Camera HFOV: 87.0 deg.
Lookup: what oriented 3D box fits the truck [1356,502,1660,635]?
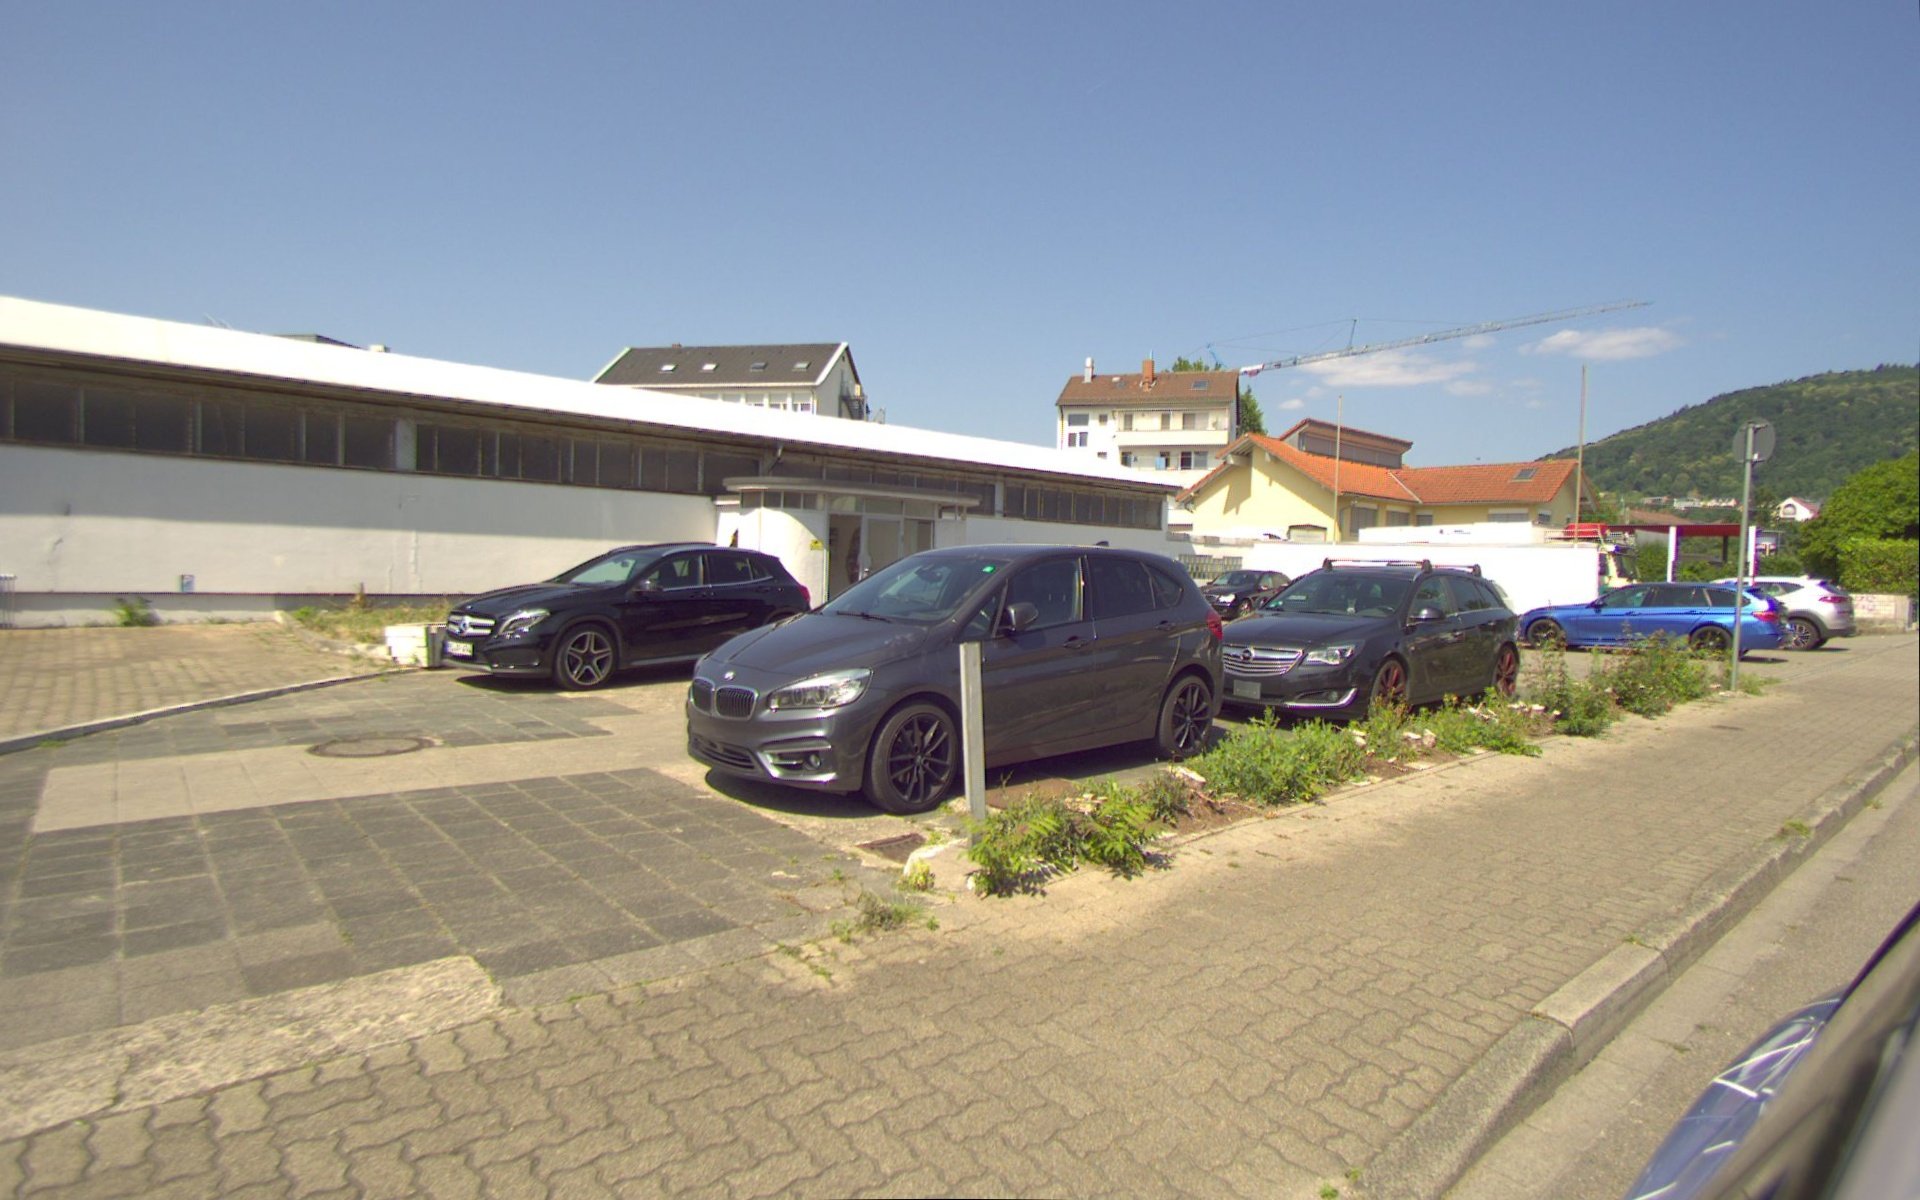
[{"bbox_3d":[16.035,-0.783,30.179,2.482,3.466,7.531,-1,0,-40],"label":"truck"}]

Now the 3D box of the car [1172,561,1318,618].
[{"bbox_3d":[7.991,-0.325,28.267,3.953,1.409,1.892,-1,4,-37],"label":"car"}]

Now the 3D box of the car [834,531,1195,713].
[{"bbox_3d":[0.643,0.198,10.786,3.552,1.615,1.764,0,-1,-38],"label":"car"}]

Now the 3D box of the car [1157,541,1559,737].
[{"bbox_3d":[4.307,0.250,10.488,4.866,1.587,1.862,-1,3,-42],"label":"car"}]

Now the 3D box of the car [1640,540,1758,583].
[{"bbox_3d":[49.202,-2.584,67.578,5.961,2.711,2.239,2,3,27],"label":"car"}]

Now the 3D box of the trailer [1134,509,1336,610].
[{"bbox_3d":[11.559,-1.757,43.447,3.009,3.910,8.364,-1,3,-35],"label":"trailer"}]

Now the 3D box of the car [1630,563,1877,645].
[{"bbox_3d":[18.230,0.135,23.417,1.736,1.703,4.206,-2,-1,-41],"label":"car"}]

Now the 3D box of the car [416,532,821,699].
[{"bbox_3d":[-3.691,0.060,11.541,1.757,1.514,4.093,4,4,38],"label":"car"}]

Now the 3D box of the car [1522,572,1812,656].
[{"bbox_3d":[13.687,0.206,19.804,1.859,1.459,4.360,0,1,-41],"label":"car"}]

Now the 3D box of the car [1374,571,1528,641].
[{"bbox_3d":[11.698,0.064,23.973,4.382,1.459,1.888,-1,3,-44],"label":"car"}]

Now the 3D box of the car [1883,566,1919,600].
[{"bbox_3d":[46.488,-0.689,47.572,1.865,1.546,4.410,1,4,-43],"label":"car"}]

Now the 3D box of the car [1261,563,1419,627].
[{"bbox_3d":[9.828,-0.167,26.080,4.110,1.459,1.892,-1,4,-38],"label":"car"}]

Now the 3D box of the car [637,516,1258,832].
[{"bbox_3d":[0.126,0.310,7.141,4.219,1.577,1.815,-1,3,-42],"label":"car"}]

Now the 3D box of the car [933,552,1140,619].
[{"bbox_3d":[1.641,-0.316,21.863,4.099,1.340,1.719,0,2,-20],"label":"car"}]
